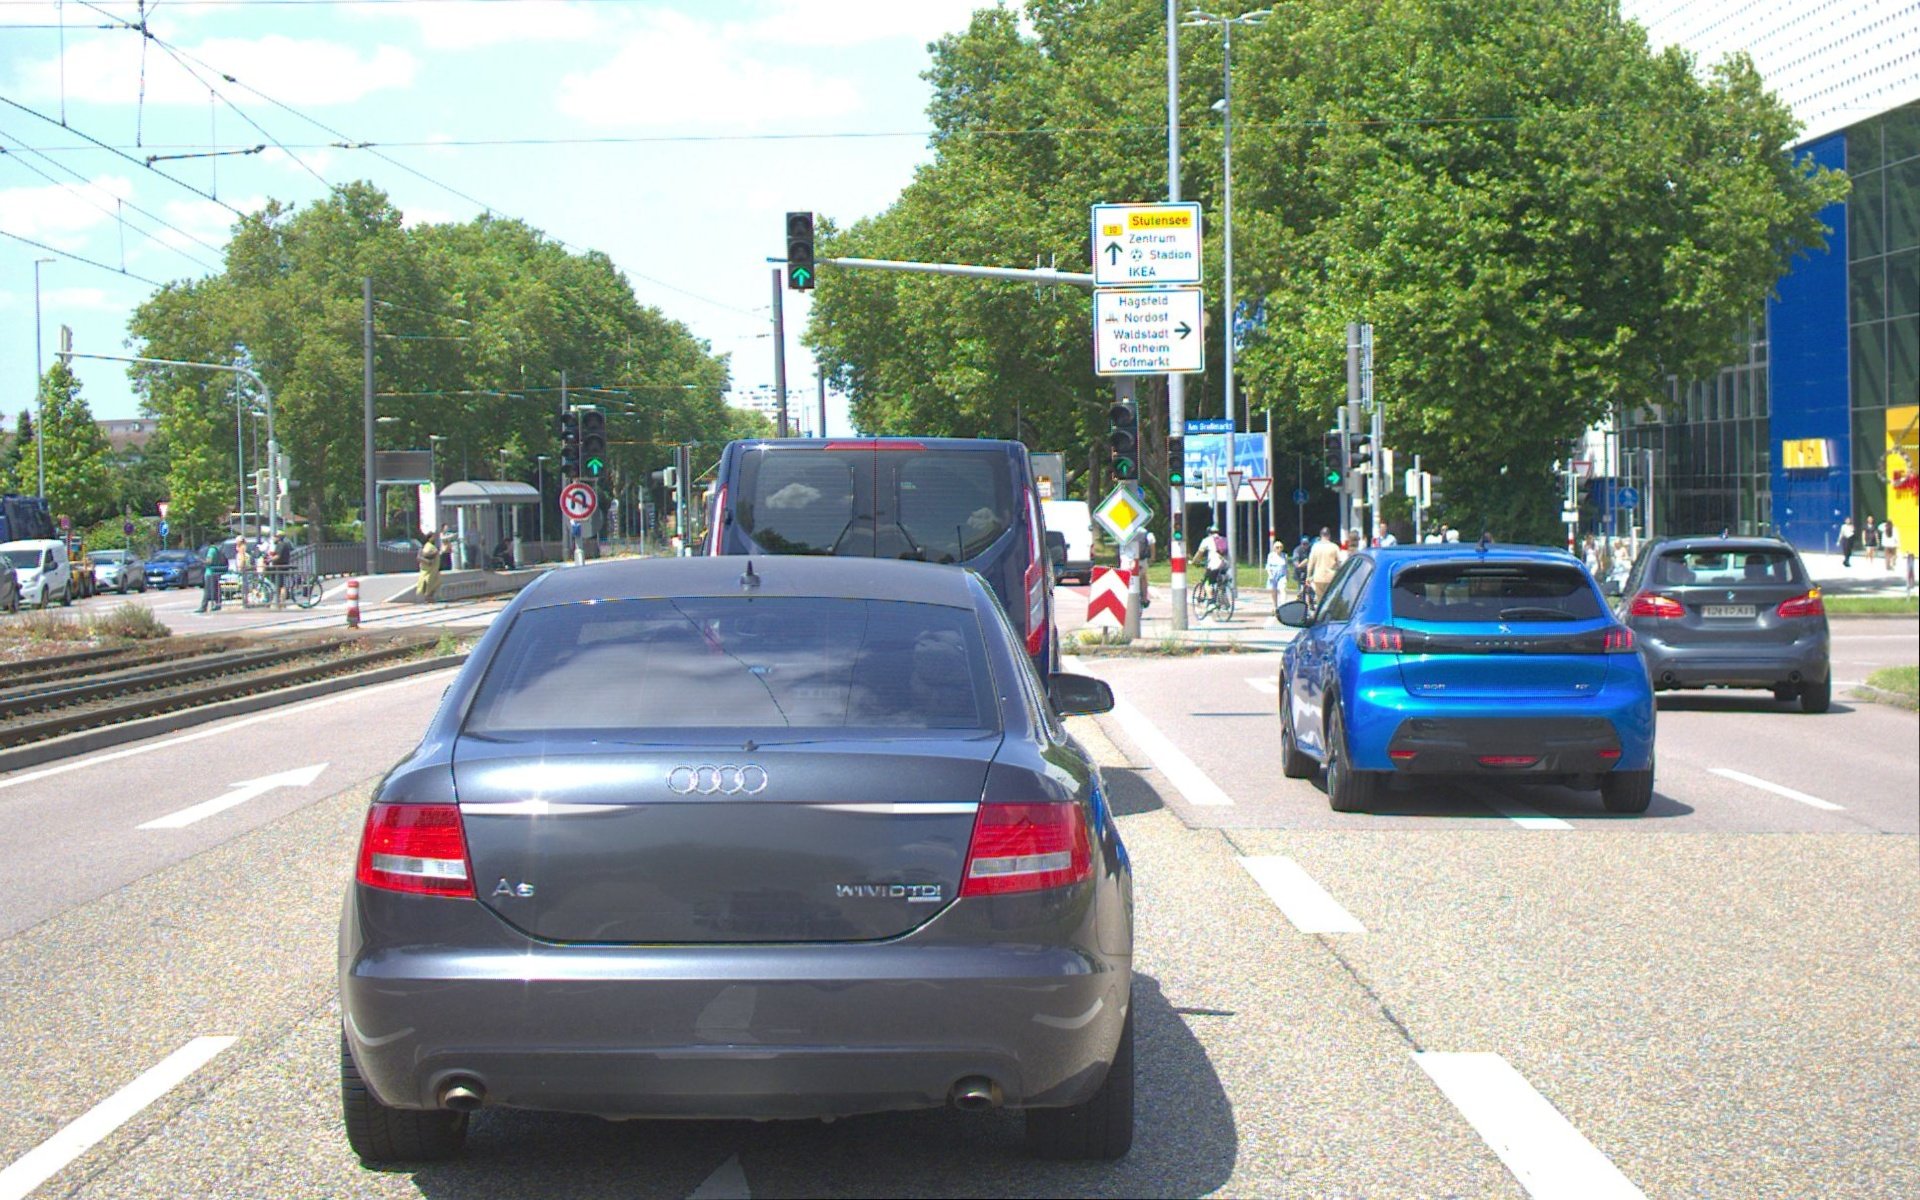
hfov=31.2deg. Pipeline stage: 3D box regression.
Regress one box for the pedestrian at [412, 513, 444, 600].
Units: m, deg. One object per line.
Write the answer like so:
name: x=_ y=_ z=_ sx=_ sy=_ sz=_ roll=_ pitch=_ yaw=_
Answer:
pedestrian: x=-12.417 y=-1.013 z=80.254 sx=0.685 sy=2.007 sz=0.573 roll=0 pitch=1 yaw=-4

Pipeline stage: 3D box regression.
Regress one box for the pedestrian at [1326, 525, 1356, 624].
pedestrian: x=6.300 y=-0.424 z=56.891 sx=0.445 sy=1.629 sz=0.430 roll=0 pitch=1 yaw=3

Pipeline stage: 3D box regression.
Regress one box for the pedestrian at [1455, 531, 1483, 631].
pedestrian: x=8.320 y=-0.317 z=56.229 sx=0.398 sy=1.629 sz=0.371 roll=0 pitch=1 yaw=3

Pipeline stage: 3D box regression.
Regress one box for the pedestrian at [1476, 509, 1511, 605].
pedestrian: x=9.305 y=-0.753 z=59.966 sx=0.521 sy=1.664 sz=0.494 roll=0 pitch=1 yaw=3

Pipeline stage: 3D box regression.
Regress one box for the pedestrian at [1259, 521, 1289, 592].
pedestrian: x=6.725 y=-0.928 z=73.700 sx=0.494 sy=1.514 sz=0.706 roll=1 pitch=1 yaw=17

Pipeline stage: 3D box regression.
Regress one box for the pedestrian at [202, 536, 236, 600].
pedestrian: x=-16.845 y=-0.731 z=78.137 sx=0.685 sy=1.438 sz=0.573 roll=0 pitch=1 yaw=-4

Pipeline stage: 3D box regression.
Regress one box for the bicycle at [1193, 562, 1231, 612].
bicycle: x=4.591 y=-0.244 z=62.741 sx=0.550 sy=0.874 sz=1.697 roll=0 pitch=1 yaw=-1

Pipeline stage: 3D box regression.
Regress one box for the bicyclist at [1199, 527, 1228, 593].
bicyclist: x=4.603 y=-0.733 z=62.482 sx=0.470 sy=1.189 sz=0.791 roll=0 pitch=1 yaw=1

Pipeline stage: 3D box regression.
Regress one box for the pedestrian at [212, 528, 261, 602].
pedestrian: x=-17.018 y=-0.827 z=80.895 sx=0.824 sy=1.714 sz=0.774 roll=1 pitch=1 yaw=22

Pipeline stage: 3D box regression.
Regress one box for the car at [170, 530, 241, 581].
car: x=-28.296 y=-1.683 z=129.013 sx=1.817 sy=1.876 sz=4.000 roll=0 pitch=1 yaw=-1

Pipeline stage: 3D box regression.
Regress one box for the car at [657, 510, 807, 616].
car: x=-3.380 y=-0.581 z=51.638 sx=1.993 sy=1.481 sz=4.000 roll=1 pitch=1 yaw=0

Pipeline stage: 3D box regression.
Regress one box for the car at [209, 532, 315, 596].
car: x=-19.041 y=-1.012 z=93.950 sx=1.822 sy=1.664 sz=4.461 roll=1 pitch=1 yaw=2

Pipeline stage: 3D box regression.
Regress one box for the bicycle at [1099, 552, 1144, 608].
bicycle: x=2.971 y=-0.380 z=63.543 sx=0.688 sy=0.990 sz=2.752 roll=0 pitch=1 yaw=0

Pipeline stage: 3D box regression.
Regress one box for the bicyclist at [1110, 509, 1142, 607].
bicyclist: x=3.033 y=-0.770 z=62.973 sx=0.528 sy=1.783 sz=1.088 roll=0 pitch=1 yaw=0

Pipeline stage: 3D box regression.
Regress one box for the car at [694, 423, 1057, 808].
car: x=-0.453 y=0.047 z=19.371 sx=1.836 sy=1.943 sz=4.000 roll=0 pitch=1 yaw=-1

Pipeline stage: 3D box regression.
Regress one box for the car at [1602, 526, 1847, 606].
car: x=15.314 y=-0.696 z=69.039 sx=4.498 sy=1.481 sz=2.000 roll=1 pitch=1 yaw=3

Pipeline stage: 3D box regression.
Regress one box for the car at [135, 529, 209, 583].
car: x=-28.321 y=-1.598 z=123.669 sx=1.817 sy=1.876 sz=4.000 roll=0 pitch=1 yaw=-1

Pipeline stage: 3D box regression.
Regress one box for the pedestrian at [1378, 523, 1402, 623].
pedestrian: x=7.047 y=-0.445 z=56.313 sx=0.339 sy=1.629 sz=0.377 roll=0 pitch=1 yaw=3

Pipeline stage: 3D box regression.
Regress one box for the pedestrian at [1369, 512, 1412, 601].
pedestrian: x=9.021 y=-0.912 z=72.029 sx=0.685 sy=1.840 sz=0.706 roll=1 pitch=1 yaw=25

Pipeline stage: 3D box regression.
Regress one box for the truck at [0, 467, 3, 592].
truck: x=-28.624 y=-1.943 z=94.763 sx=2.767 sy=3.557 sz=6.440 roll=0 pitch=1 yaw=-1

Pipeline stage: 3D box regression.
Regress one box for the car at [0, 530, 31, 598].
car: x=-24.667 y=-0.907 z=85.661 sx=1.822 sy=1.664 sz=4.461 roll=1 pitch=1 yaw=0

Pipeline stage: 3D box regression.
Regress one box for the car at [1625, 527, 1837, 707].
car: x=7.002 y=0.098 z=31.274 sx=1.762 sy=1.521 sz=4.097 roll=0 pitch=1 yaw=13

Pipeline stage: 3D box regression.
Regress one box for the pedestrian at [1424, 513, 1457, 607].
pedestrian: x=8.380 y=-0.705 z=59.985 sx=0.504 sy=1.629 sz=0.449 roll=0 pitch=1 yaw=3

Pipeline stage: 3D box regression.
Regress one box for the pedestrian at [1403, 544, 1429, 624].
pedestrian: x=7.460 y=-0.269 z=56.253 sx=0.372 sy=1.299 sz=0.365 roll=0 pitch=1 yaw=3

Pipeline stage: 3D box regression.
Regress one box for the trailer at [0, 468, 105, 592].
trailer: x=-28.724 y=-2.096 z=102.448 sx=2.767 sy=3.506 sz=15.879 roll=0 pitch=1 yaw=-1

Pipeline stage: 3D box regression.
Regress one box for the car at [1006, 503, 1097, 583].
car: x=2.695 y=-1.702 z=102.241 sx=1.993 sy=2.301 sz=4.776 roll=0 pitch=1 yaw=-7

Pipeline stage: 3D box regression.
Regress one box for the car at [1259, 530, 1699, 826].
car: x=2.831 y=0.358 z=19.604 sx=1.837 sy=1.449 sz=4.000 roll=1 pitch=1 yaw=0

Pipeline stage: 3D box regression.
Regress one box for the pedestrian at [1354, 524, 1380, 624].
pedestrian: x=6.665 y=-0.431 z=56.340 sx=0.381 sy=1.629 sz=0.377 roll=0 pitch=1 yaw=3

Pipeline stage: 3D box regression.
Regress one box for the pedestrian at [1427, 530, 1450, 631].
pedestrian: x=7.828 y=-0.321 z=56.233 sx=0.320 sy=1.629 sz=0.377 roll=0 pitch=1 yaw=3

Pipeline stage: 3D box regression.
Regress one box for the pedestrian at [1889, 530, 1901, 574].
pedestrian: x=28.490 y=-1.471 z=104.779 sx=0.288 sy=1.338 sz=0.266 roll=0 pitch=1 yaw=0

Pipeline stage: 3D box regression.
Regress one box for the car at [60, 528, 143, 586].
car: x=-28.451 y=-1.439 z=114.022 sx=1.817 sy=1.876 sz=4.000 roll=0 pitch=1 yaw=-1

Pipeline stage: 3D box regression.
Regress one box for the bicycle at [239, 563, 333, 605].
bicycle: x=-15.138 y=-0.369 z=77.253 sx=2.055 sy=0.922 sz=0.753 roll=0 pitch=1 yaw=-10

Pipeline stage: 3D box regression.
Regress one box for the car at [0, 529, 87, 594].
car: x=-24.955 y=-1.061 z=92.282 sx=1.822 sy=1.664 sz=4.461 roll=1 pitch=1 yaw=1

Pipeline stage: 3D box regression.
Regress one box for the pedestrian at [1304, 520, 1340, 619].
pedestrian: x=5.995 y=-0.508 z=57.015 sx=0.554 sy=1.629 sz=0.433 roll=0 pitch=1 yaw=3

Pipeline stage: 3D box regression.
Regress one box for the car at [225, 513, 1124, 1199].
car: x=-0.590 y=0.520 z=8.973 sx=1.792 sy=1.450 sz=4.000 roll=-1 pitch=1 yaw=0

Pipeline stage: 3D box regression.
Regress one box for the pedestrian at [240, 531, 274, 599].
pedestrian: x=-16.204 y=-0.799 z=79.248 sx=0.685 sy=1.559 sz=0.573 roll=0 pitch=1 yaw=-4
